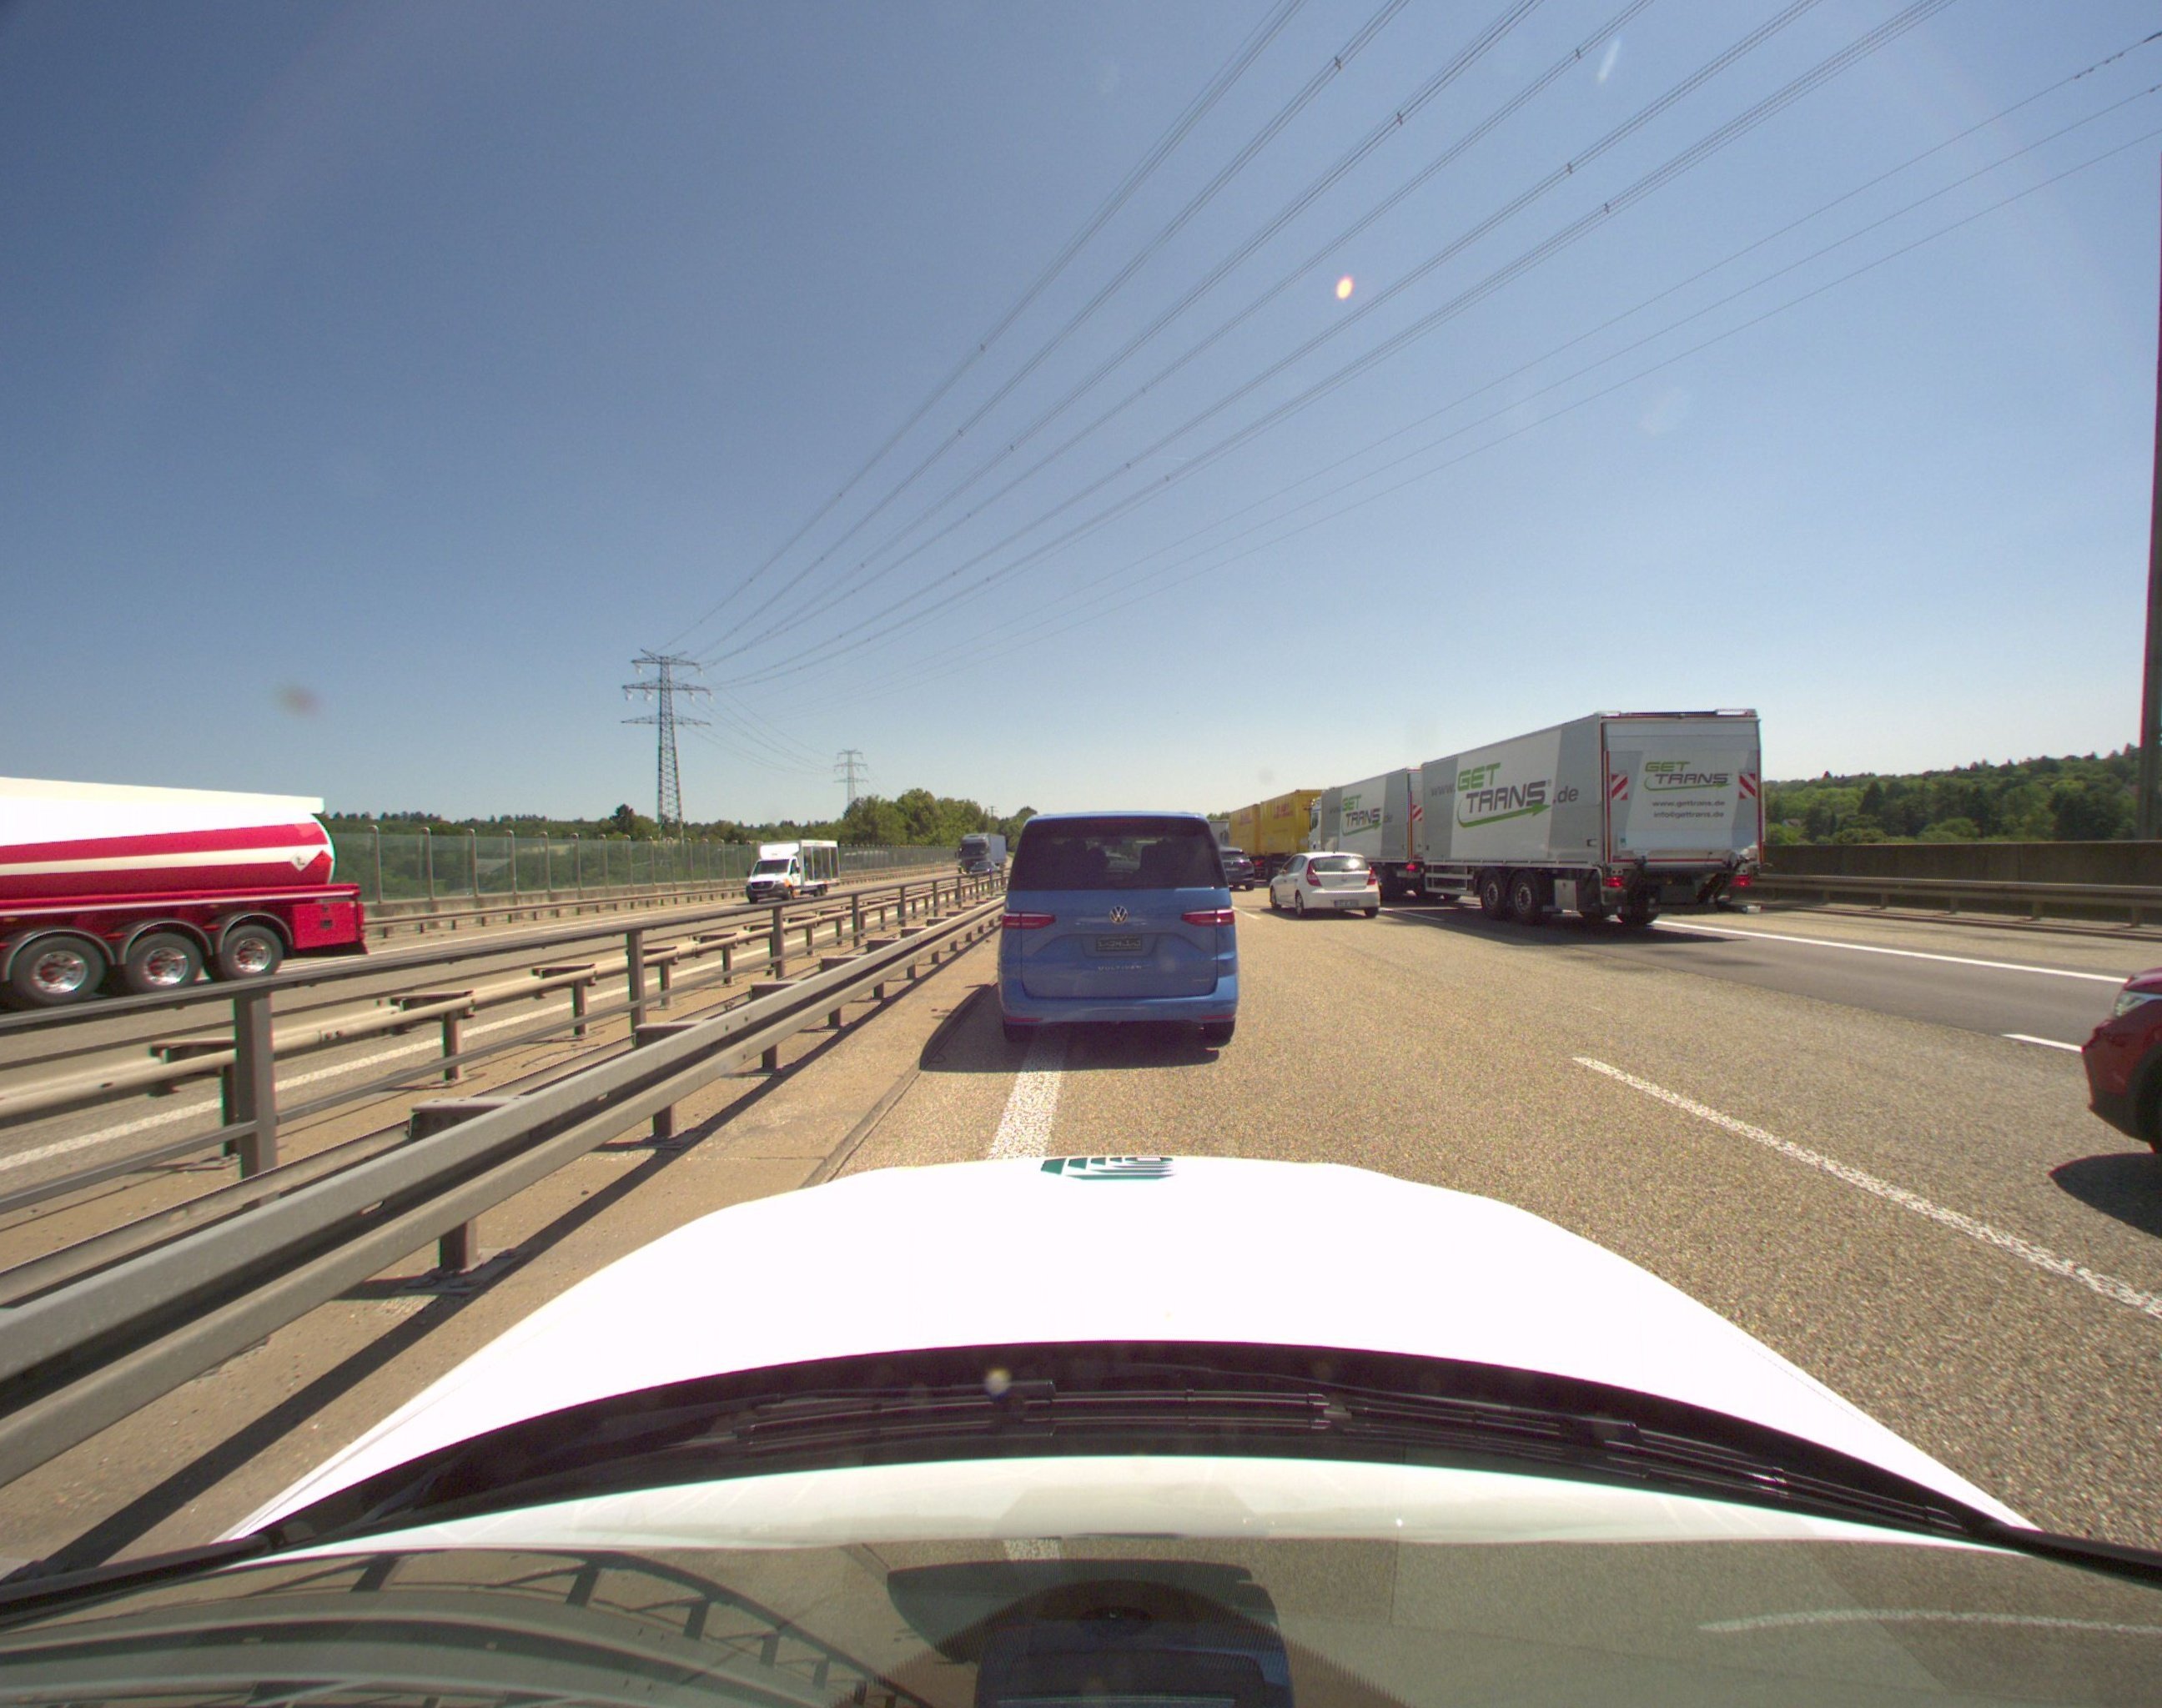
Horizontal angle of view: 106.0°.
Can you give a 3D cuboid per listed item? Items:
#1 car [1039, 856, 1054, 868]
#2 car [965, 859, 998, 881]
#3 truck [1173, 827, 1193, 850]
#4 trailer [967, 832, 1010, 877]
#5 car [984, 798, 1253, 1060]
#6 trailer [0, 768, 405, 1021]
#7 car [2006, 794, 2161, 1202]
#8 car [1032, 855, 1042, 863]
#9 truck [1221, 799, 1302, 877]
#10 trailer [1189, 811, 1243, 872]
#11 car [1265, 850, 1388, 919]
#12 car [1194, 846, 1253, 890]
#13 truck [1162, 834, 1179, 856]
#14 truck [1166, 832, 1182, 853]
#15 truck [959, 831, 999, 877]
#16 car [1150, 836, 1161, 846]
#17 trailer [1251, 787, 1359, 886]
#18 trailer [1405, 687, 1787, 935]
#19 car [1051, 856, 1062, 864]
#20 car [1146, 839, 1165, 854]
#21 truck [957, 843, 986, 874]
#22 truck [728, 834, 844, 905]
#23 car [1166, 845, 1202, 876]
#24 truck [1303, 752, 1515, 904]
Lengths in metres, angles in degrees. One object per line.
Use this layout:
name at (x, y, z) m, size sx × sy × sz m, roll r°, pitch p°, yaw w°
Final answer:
car at (-4.728, 1.124, 113.365) m, size 1.875 × 1.552 × 4.189 m, roll 0°, pitch -1°, yaw 0°
car at (-7.368, 1.195, 60.639) m, size 1.791 × 1.498 × 3.853 m, roll -3°, pitch -1°, yaw 2°
truck at (11.191, -1.679, 89.796) m, size 1.791 × 2.449 × 4.506 m, roll 0°, pitch -1°, yaw 2°
trailer at (-9.471, 0.122, 84.943) m, size 2.695 × 4.165 × 12.052 m, roll -3°, pitch -1°, yaw 1°
car at (0.334, 0.562, 7.873) m, size 1.923 × 1.874 × 4.001 m, roll 0°, pitch -1°, yaw 2°
trailer at (-15.855, 0.633, 10.930) m, size 2.865 × 3.379 × 12.016 m, roll -4°, pitch -1°, yaw 3°
car at (5.246, 0.575, 1.765) m, size 1.702 × 1.679 × 4.286 m, roll 0°, pitch -1°, yaw 2°
car at (-9.618, 1.186, 178.899) m, size 1.800 × 1.640 × 4.000 m, roll -4°, pitch -1°, yaw 1°
truck at (10.383, -0.779, 47.869) m, size 2.690 × 4.088 × 9.940 m, roll 0°, pitch -1°, yaw 1°
trailer at (11.017, -0.908, 67.621) m, size 3.014 × 4.611 × 10.930 m, roll 0°, pitch -1°, yaw 2°
car at (5.728, 0.664, 19.483) m, size 1.809 × 1.470 × 3.932 m, roll 0°, pitch -1°, yaw 1°
car at (5.635, 0.547, 32.677) m, size 1.808 × 1.679 × 3.933 m, roll 0°, pitch -1°, yaw 2°
truck at (10.865, -1.086, 98.603) m, size 1.735 × 2.549 × 4.212 m, roll 0°, pitch -1°, yaw 2°
truck at (11.839, -1.445, 103.834) m, size 1.790 × 2.596 × 4.307 m, roll 0°, pitch -1°, yaw 2°
truck at (-9.646, 0.040, 77.788) m, size 2.743 × 4.116 × 6.267 m, roll -2°, pitch -1°, yaw 1°
car at (13.116, -2.246, 143.626) m, size 1.790 × 1.751 × 3.945 m, roll 0°, pitch -1°, yaw 2°
trailer at (10.277, -0.686, 38.472) m, size 2.673 × 4.088 × 8.980 m, roll 0°, pitch -1°, yaw 1°
trailer at (9.737, -0.638, 16.924) m, size 2.888 × 3.891 × 8.216 m, roll 0°, pitch -1°, yaw 1°
car at (-4.460, 1.134, 150.519) m, size 1.875 × 1.552 × 4.189 m, roll 0°, pitch -1°, yaw 0°
car at (8.468, -0.851, 93.142) m, size 1.912 × 1.706 × 4.001 m, roll 0°, pitch -1°, yaw 2°
truck at (-13.640, 0.574, 101.552) m, size 2.511 × 3.535 × 5.333 m, roll -3°, pitch -1°, yaw 2°
truck at (-15.157, 0.787, 42.645) m, size 2.553 × 3.188 × 8.298 m, roll -4°, pitch -1°, yaw 2°
car at (6.726, 0.452, 53.637) m, size 1.955 × 1.936 × 3.933 m, roll 0°, pitch -1°, yaw 2°
truck at (9.937, -0.625, 26.389) m, size 2.841 × 3.934 × 10.613 m, roll 0°, pitch -1°, yaw 2°
